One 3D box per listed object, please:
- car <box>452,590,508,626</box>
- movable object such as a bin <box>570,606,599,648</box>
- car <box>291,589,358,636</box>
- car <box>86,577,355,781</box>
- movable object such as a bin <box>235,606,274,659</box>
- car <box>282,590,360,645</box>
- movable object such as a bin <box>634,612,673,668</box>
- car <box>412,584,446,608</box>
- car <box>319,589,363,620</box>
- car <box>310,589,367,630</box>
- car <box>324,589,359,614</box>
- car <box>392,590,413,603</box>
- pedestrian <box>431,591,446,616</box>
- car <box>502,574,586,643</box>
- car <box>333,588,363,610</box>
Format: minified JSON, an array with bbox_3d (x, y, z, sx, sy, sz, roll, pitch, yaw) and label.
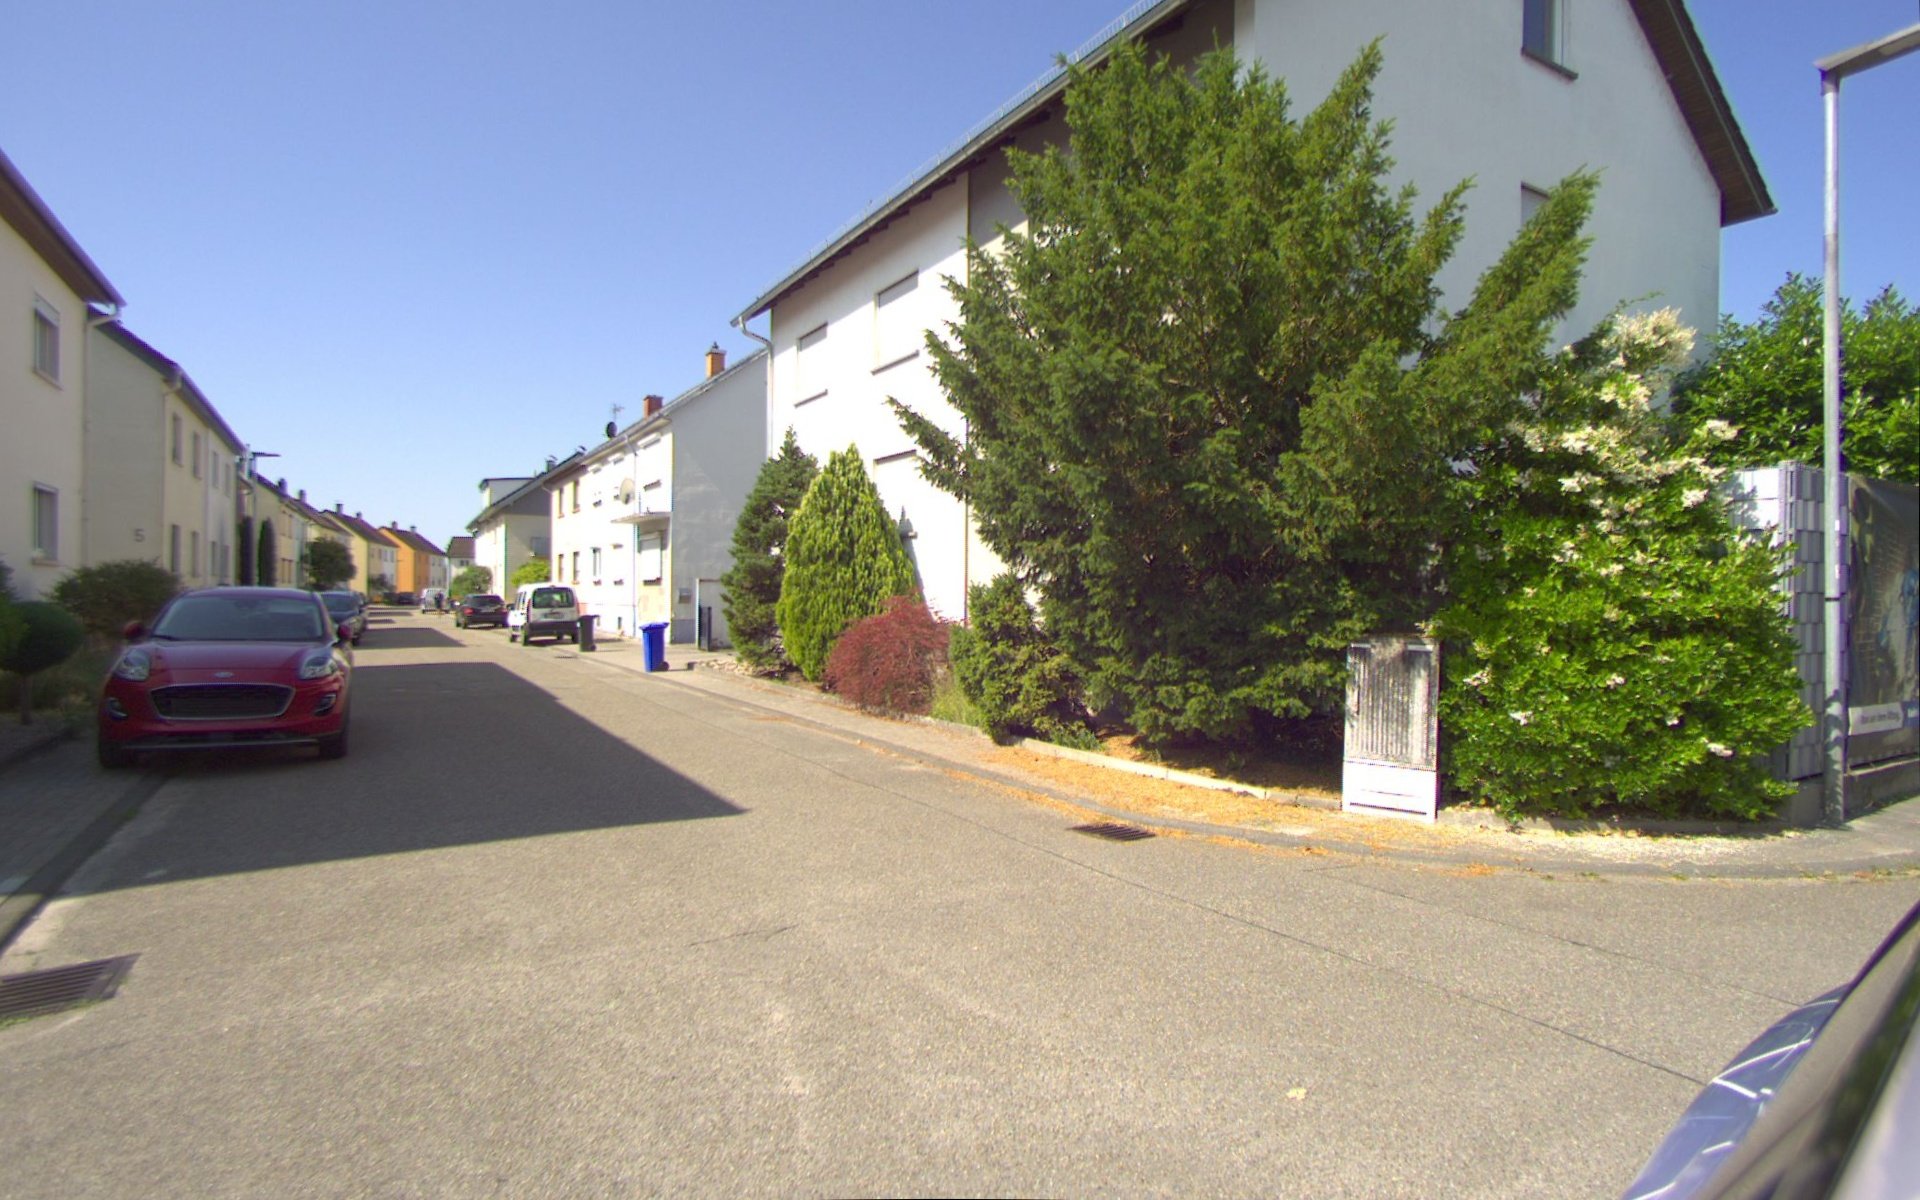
[{"bbox_3d":[-20.282,0.291,42.668,1.761,1.399,4.004,-2,1,-30],"label":"car"},{"bbox_3d":[-9.619,0.690,25.897,0.591,1.043,0.596,0,0,-31],"label":"movable object such as a bin"},{"bbox_3d":[-20.703,0.356,33.084,1.761,1.428,4.002,0,1,-31],"label":"car"},{"bbox_3d":[-6.940,0.574,9.882,1.761,1.549,4.002,0,1,-31],"label":"car"},{"bbox_3d":[-14.194,0.642,20.372,0.591,1.043,0.563,0,0,-31],"label":"movable object such as a bin"},{"bbox_3d":[-18.049,0.423,28.704,1.761,1.428,4.002,0,1,-31],"label":"car"},{"bbox_3d":[-5.905,0.763,19.474,0.591,1.043,0.596,0,0,-31],"label":"movable object such as a bin"},{"bbox_3d":[-37.339,-0.288,71.164,1.893,1.552,4.004,-2,1,-30],"label":"car"},{"bbox_3d":[-30.391,0.186,49.748,1.761,1.428,4.002,0,1,-31],"label":"car"},{"bbox_3d":[-23.300,0.325,38.000,1.761,1.428,4.002,0,1,-31],"label":"car"},{"bbox_3d":[-37.541,0.081,61.463,1.761,1.428,4.002,0,1,-31],"label":"car"},{"bbox_3d":[-59.850,-0.404,108.673,1.760,1.428,4.006,0,1,-26],"label":"car"},{"bbox_3d":[-30.501,0.195,59.193,0.643,1.399,0.628,-2,1,-33],"label":"pedestrian"},{"bbox_3d":[-12.543,0.214,30.374,1.761,1.860,4.004,-2,1,-30],"label":"car"},{"bbox_3d":[-42.390,-0.080,70.097,1.761,1.428,4.002,0,1,-31],"label":"car"}]
